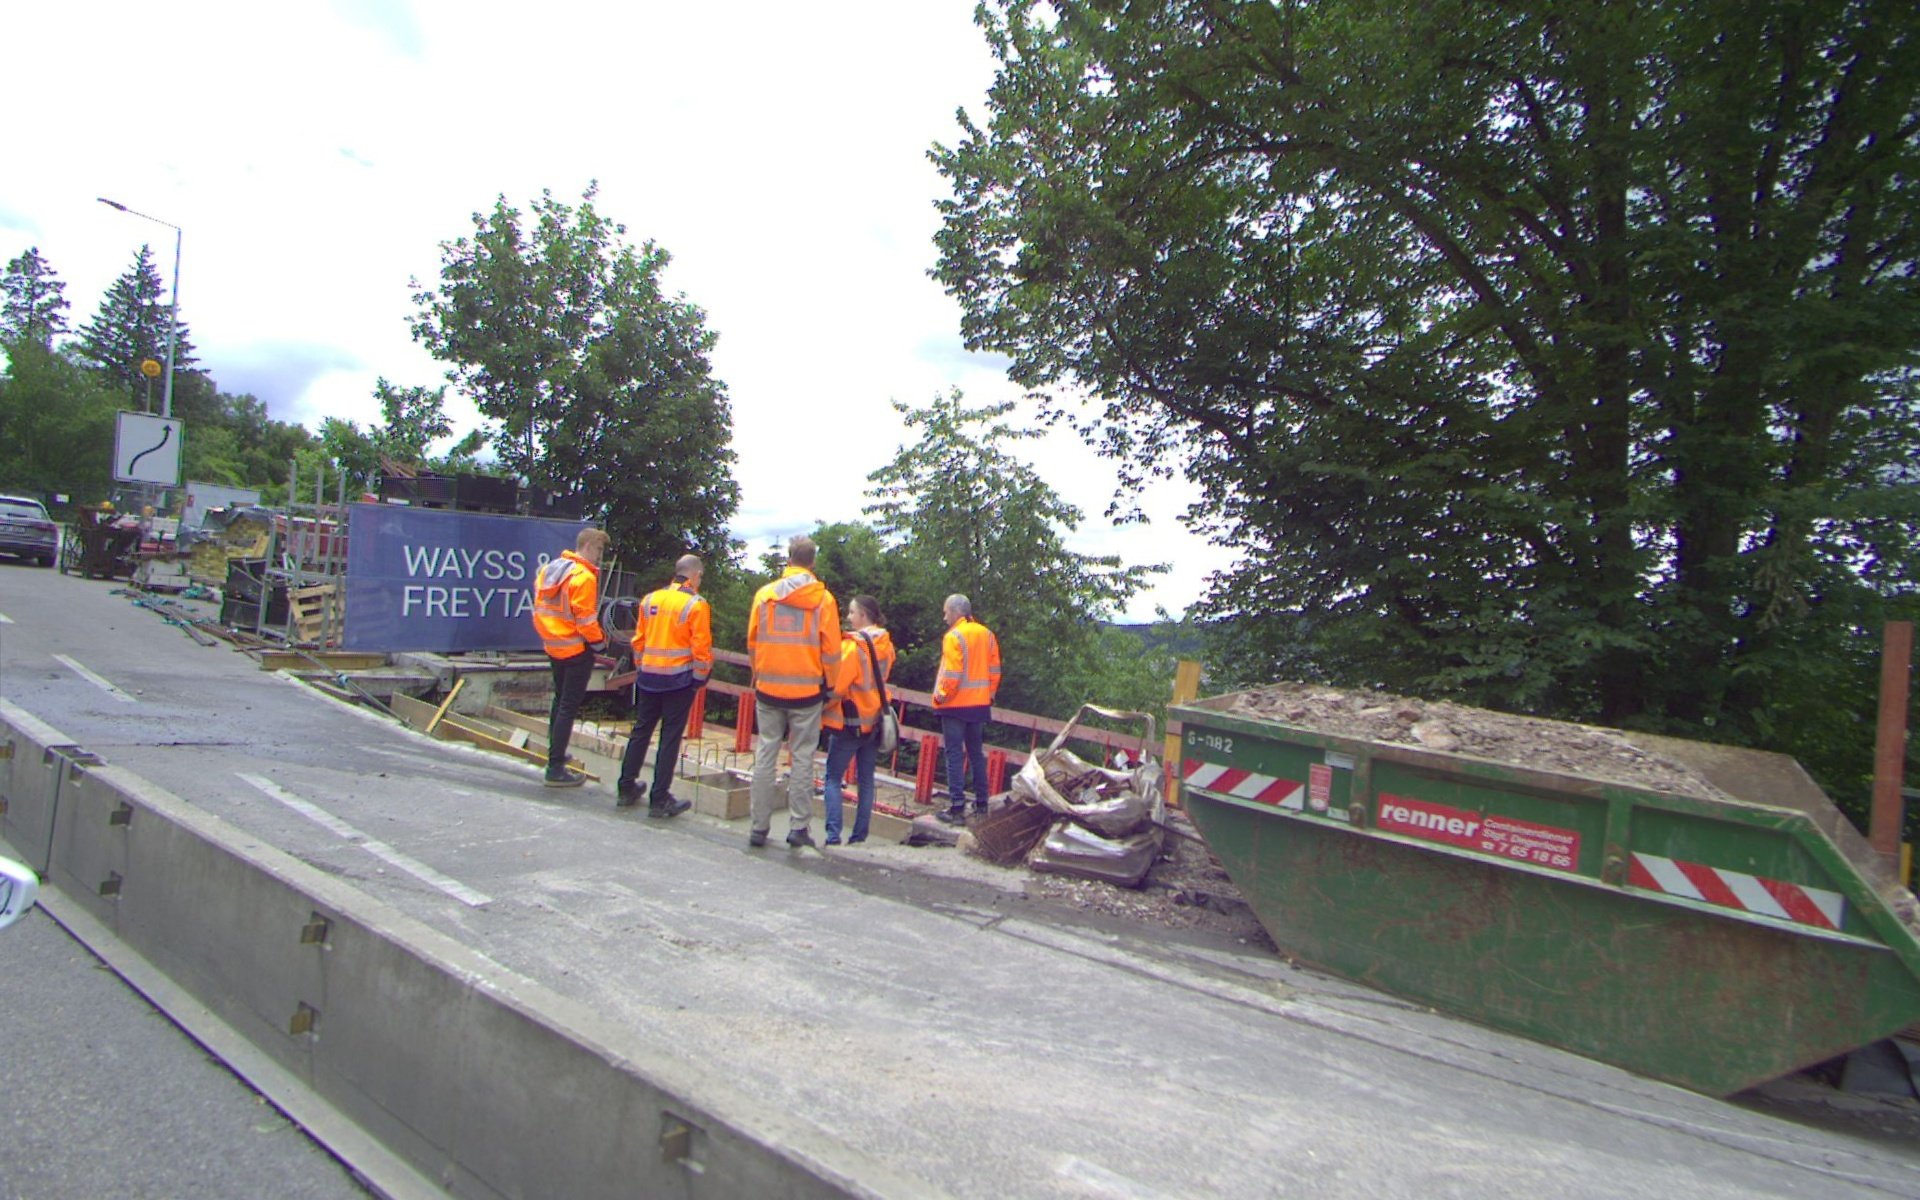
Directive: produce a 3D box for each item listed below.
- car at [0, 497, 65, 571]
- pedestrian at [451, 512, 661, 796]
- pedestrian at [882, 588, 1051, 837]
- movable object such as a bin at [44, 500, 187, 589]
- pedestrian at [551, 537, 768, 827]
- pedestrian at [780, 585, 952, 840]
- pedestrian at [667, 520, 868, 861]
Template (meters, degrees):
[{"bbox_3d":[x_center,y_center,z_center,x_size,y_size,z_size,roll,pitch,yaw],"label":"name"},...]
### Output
[{"bbox_3d":[-20.780,-1.539,21.563,3.943,1.384,1.792,6,-1,41],"label":"car"},{"bbox_3d":[-2.901,0.377,7.279,0.863,1.844,0.878,7,0,26],"label":"pedestrian"},{"bbox_3d":[0.054,0.830,7.643,0.774,1.708,0.781,7,0,42],"label":"pedestrian"},{"bbox_3d":[-16.956,-1.106,20.219,1.872,1.442,1.399,7,-1,24],"label":"movable object such as a bin"},{"bbox_3d":[-2.025,0.533,6.848,0.863,1.752,0.878,7,0,26],"label":"pedestrian"},{"bbox_3d":[-0.653,0.767,7.051,0.658,1.627,0.781,7,0,42],"label":"pedestrian"},{"bbox_3d":[-1.188,0.542,6.330,0.810,1.930,0.693,7,0,14],"label":"pedestrian"}]
